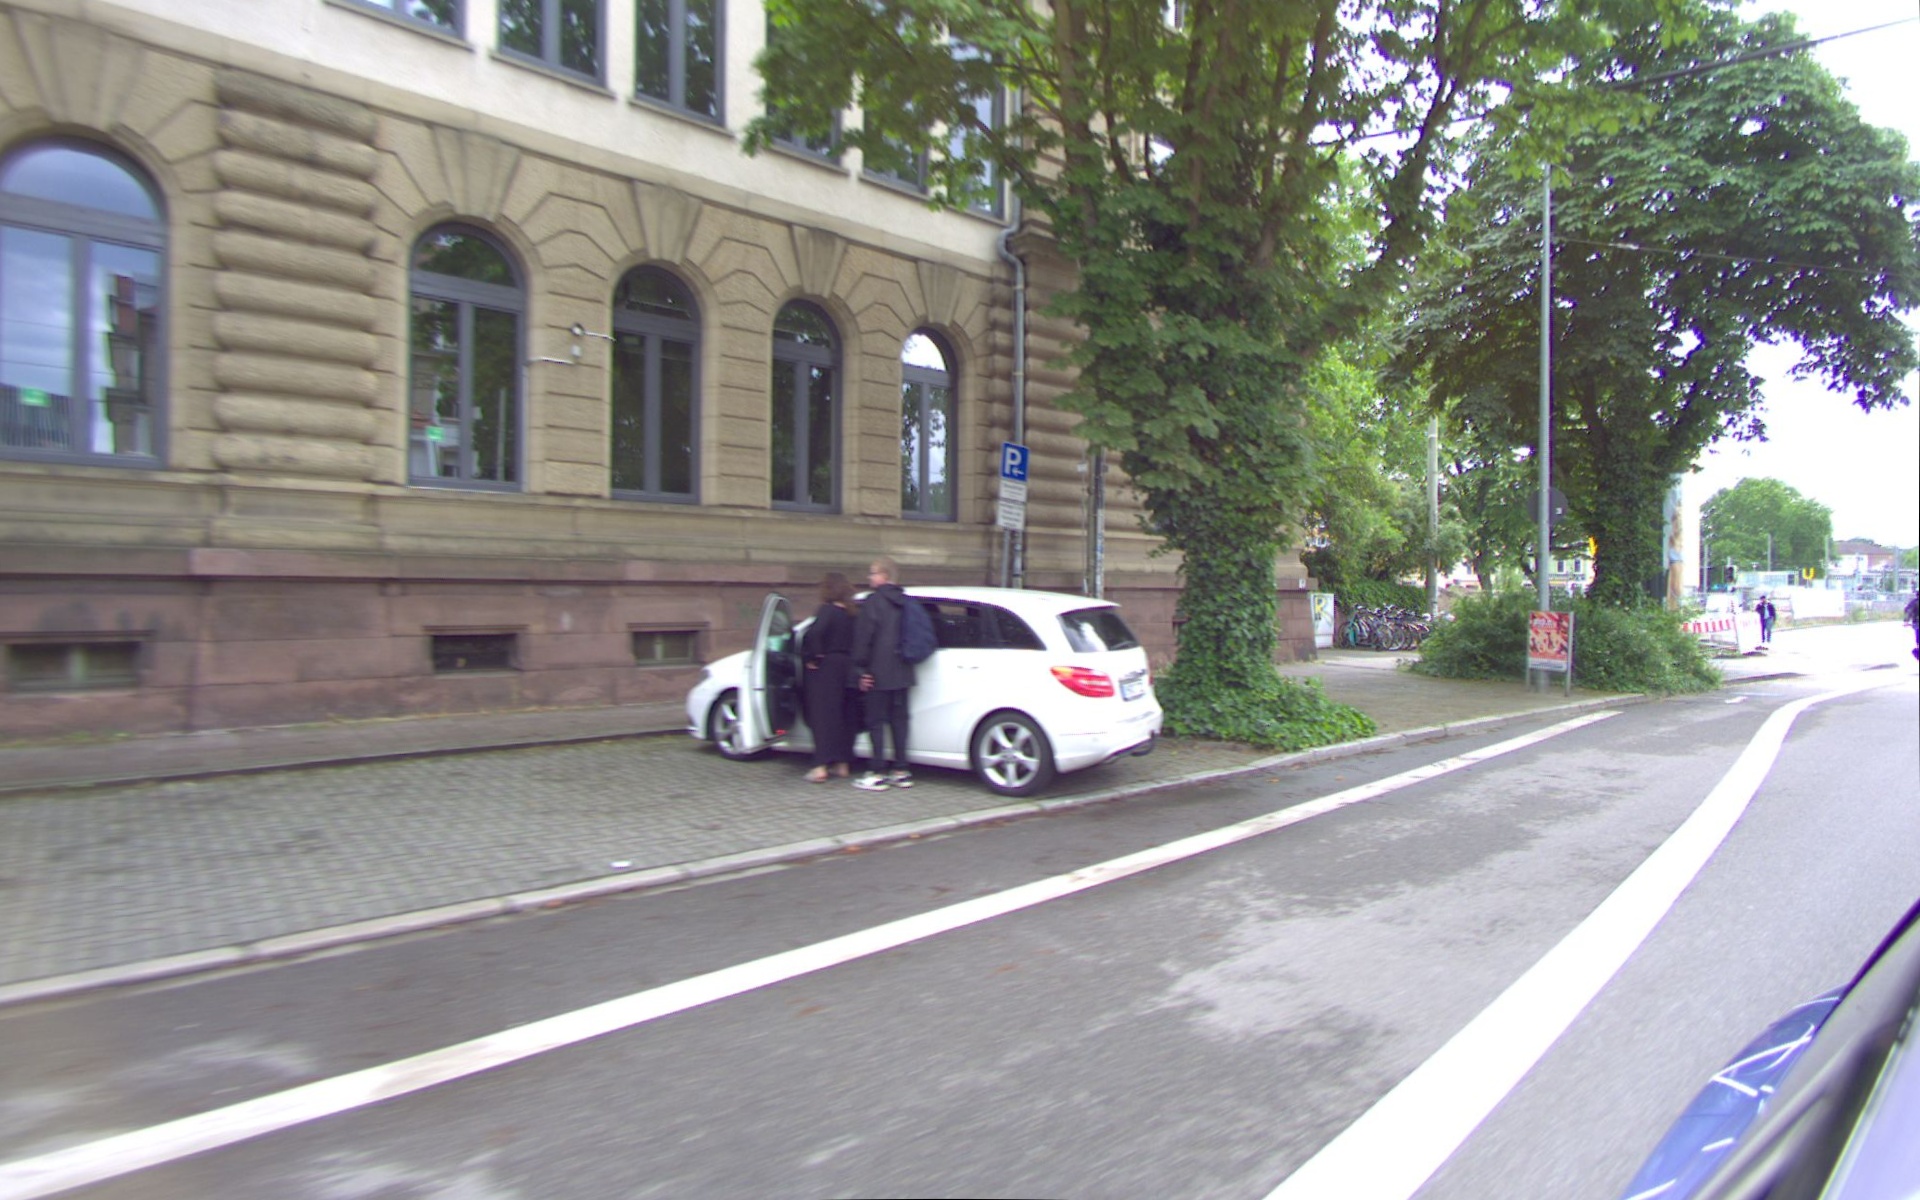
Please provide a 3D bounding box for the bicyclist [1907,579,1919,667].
[{"bbox_3d":[20.866,0.497,21.380,1.448,1.846,0.883,2,-2,-30],"label":"bicyclist"}]

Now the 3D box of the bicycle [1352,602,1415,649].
[{"bbox_3d":[11.356,0.668,27.167,0.467,1.139,1.525,-1,3,-36],"label":"bicycle"}]

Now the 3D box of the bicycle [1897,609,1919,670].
[{"bbox_3d":[20.791,0.828,21.367,2.263,1.257,0.854,1,-1,-30],"label":"bicycle"}]

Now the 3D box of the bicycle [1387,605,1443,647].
[{"bbox_3d":[12.576,0.704,27.989,0.467,1.140,1.342,0,0,-37],"label":"bicycle"}]

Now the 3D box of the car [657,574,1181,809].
[{"bbox_3d":[-0.427,0.606,8.823,4.287,1.571,1.733,2,1,29],"label":"car"}]

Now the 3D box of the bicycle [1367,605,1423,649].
[{"bbox_3d":[11.768,0.711,27.396,0.467,1.140,1.342,0,0,-37],"label":"bicycle"}]

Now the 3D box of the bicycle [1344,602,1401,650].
[{"bbox_3d":[10.886,0.671,26.748,0.417,1.175,1.384,-2,3,-35],"label":"bicycle"}]

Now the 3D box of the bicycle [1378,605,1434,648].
[{"bbox_3d":[12.194,0.707,27.685,0.467,1.140,1.342,0,0,-37],"label":"bicycle"}]

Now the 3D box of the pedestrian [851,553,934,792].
[{"bbox_3d":[-0.540,0.536,7.896,0.602,1.773,0.687,0,0,-8],"label":"pedestrian"}]

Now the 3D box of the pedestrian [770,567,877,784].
[{"bbox_3d":[-1.095,0.572,8.130,0.590,1.647,0.633,0,-1,45],"label":"pedestrian"}]

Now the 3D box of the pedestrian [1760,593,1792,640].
[{"bbox_3d":[30.562,0.597,37.929,0.912,1.730,1.142,0,0,38],"label":"pedestrian"}]

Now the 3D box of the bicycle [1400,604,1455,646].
[{"bbox_3d":[13.136,0.699,28.435,0.467,1.140,1.342,0,0,-37],"label":"bicycle"}]
